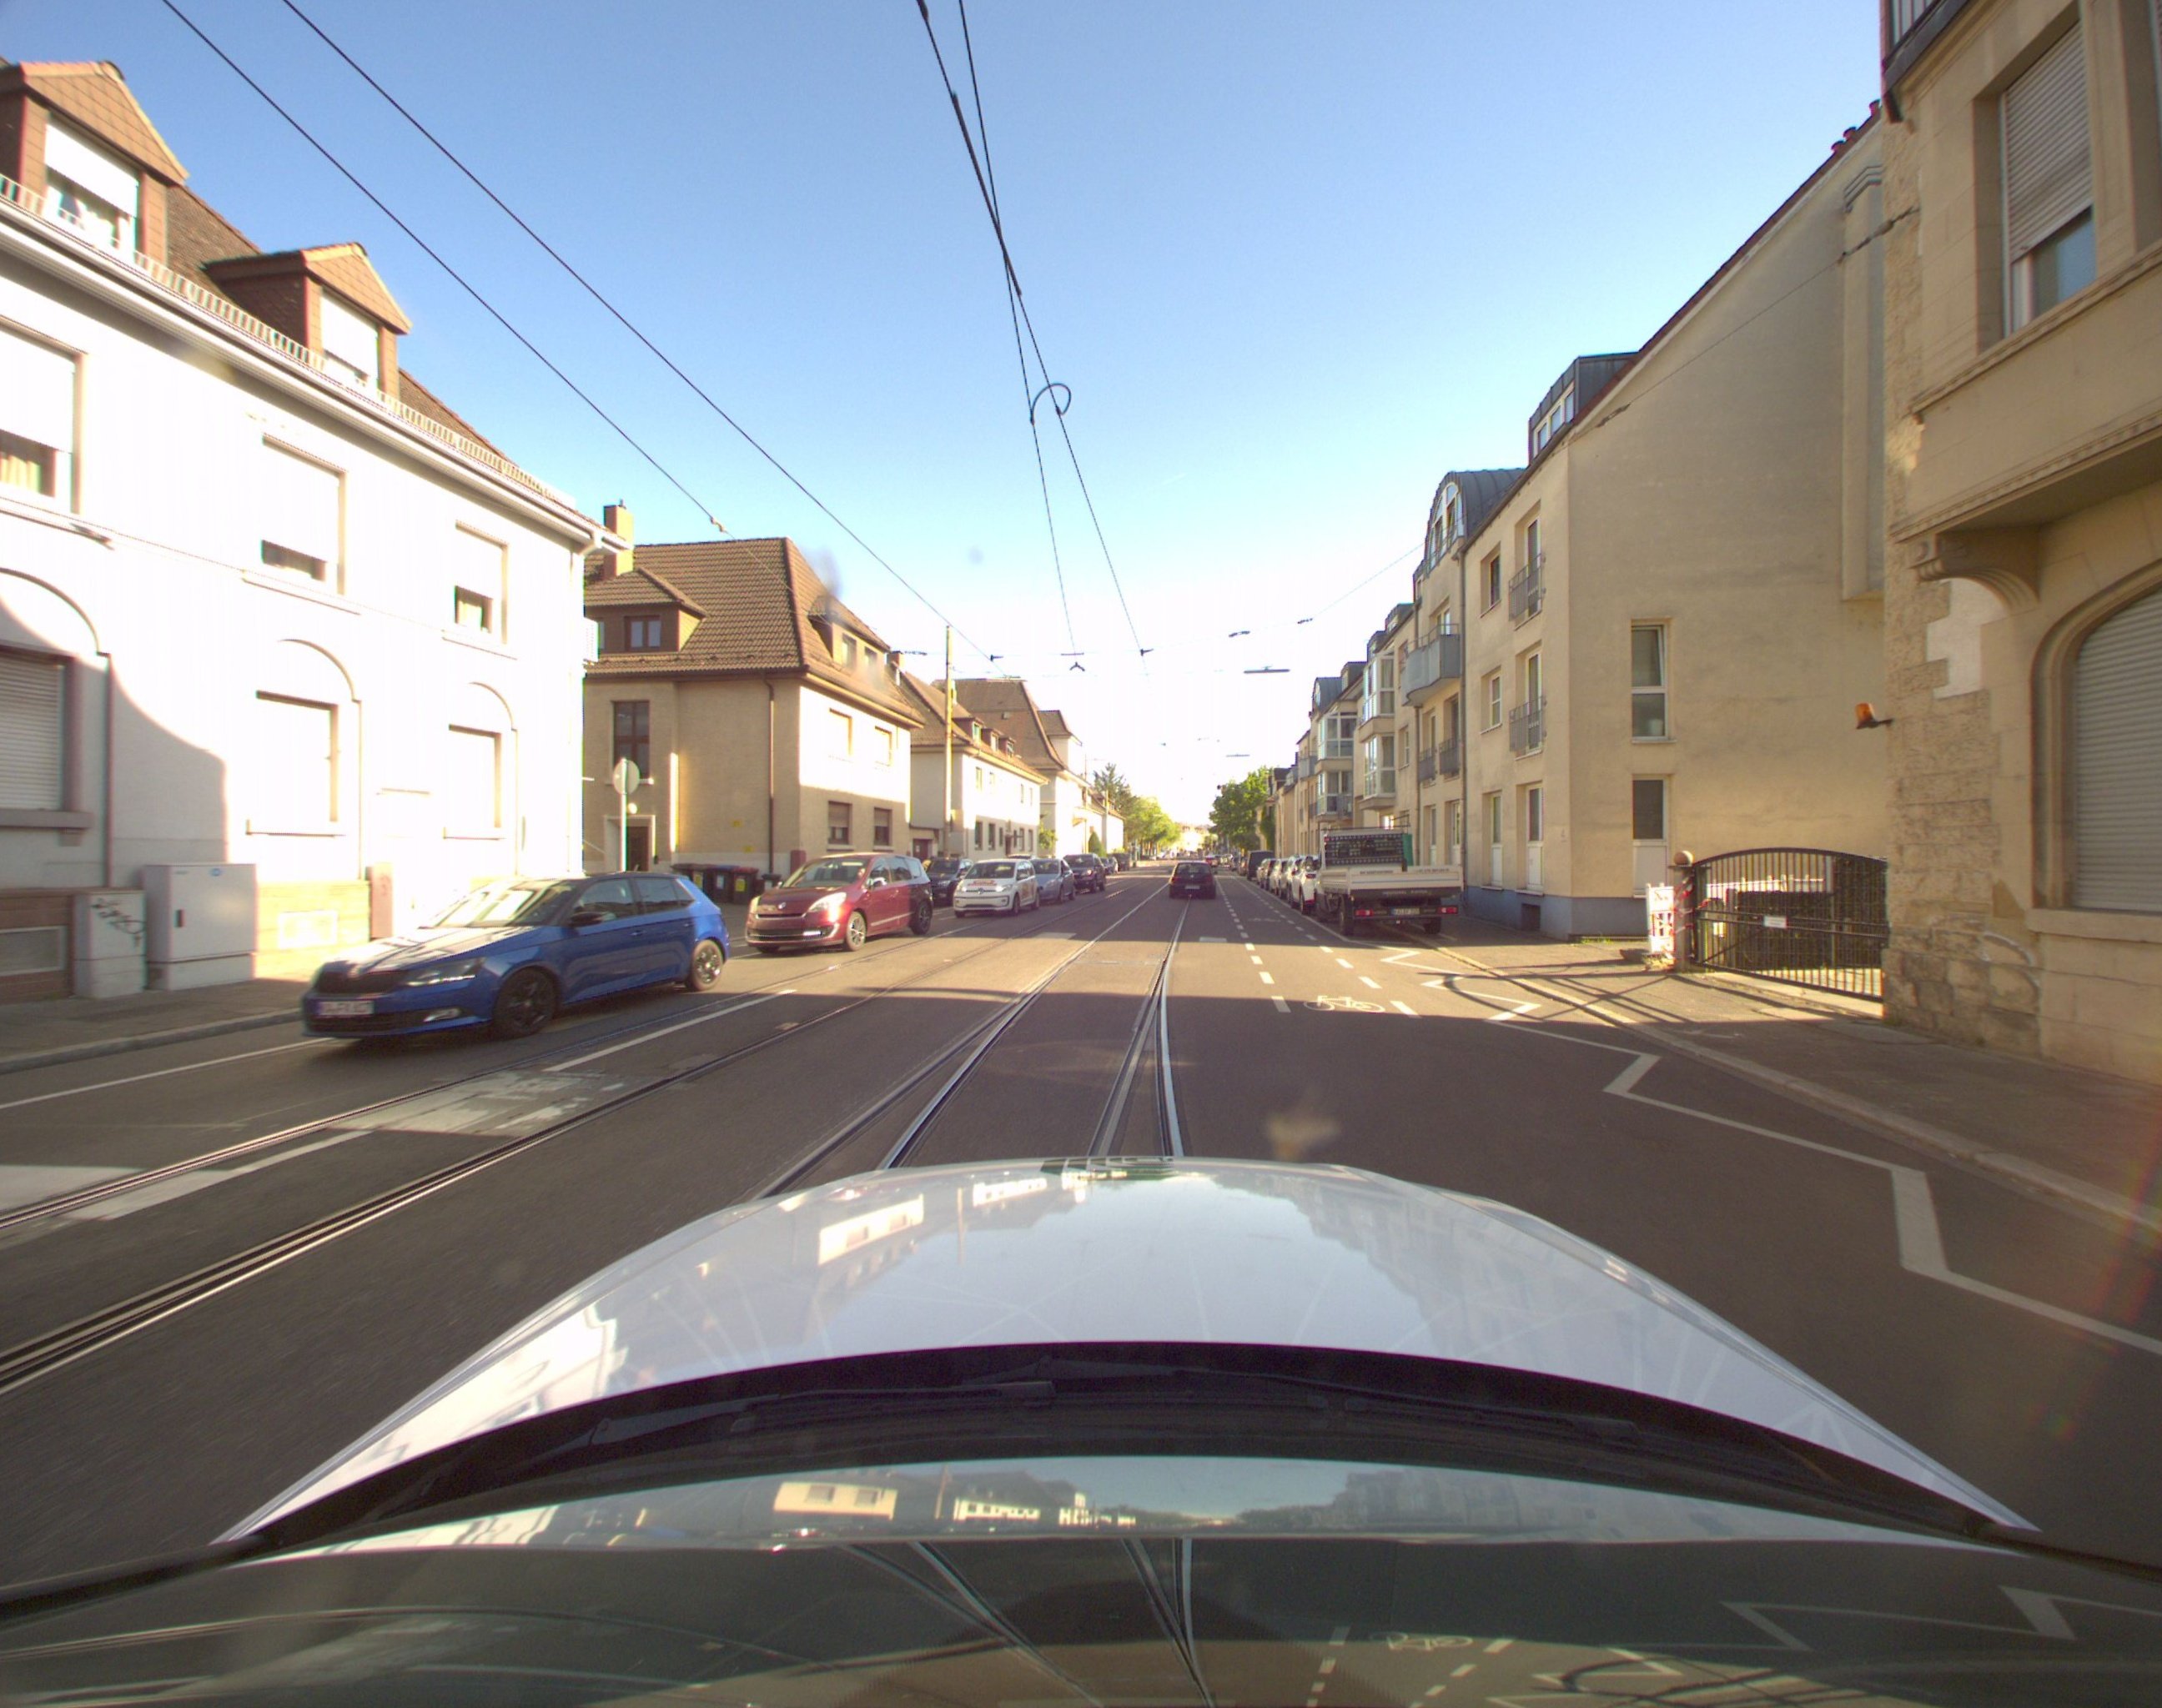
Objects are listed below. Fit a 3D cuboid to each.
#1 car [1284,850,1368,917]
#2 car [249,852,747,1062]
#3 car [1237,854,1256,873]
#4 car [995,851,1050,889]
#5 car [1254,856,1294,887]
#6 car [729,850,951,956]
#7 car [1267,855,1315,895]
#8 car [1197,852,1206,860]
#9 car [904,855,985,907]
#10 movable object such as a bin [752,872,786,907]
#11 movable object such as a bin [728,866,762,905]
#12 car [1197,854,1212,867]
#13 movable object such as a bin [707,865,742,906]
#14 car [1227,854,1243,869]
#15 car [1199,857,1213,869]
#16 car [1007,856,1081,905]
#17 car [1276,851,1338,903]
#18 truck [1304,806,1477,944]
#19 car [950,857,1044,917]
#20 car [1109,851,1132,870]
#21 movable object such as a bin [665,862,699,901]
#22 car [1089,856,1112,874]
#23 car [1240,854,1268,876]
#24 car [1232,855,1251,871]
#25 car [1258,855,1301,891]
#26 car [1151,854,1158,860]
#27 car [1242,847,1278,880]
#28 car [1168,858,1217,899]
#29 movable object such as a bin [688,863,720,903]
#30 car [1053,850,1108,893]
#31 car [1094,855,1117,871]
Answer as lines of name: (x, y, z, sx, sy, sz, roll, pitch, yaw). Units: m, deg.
car: (7.071, 0.788, 23.863, 1.729, 1.746, 4.266, 2, 0, 9)
car: (-5.308, 0.801, 8.172, 1.673, 1.567, 3.940, -2, 0, 11)
car: (15.053, 0.852, 74.213, 1.449, 1.599, 3.300, 1, 0, 7)
car: (-2.776, 0.762, 39.828, 1.752, 1.705, 4.565, -2, 0, 8)
car: (10.336, 0.912, 43.901, 1.668, 1.491, 4.182, 2, 0, 8)
car: (-4.082, 0.765, 14.782, 1.726, 1.611, 4.731, -2, 0, 13)
car: (8.715, 0.839, 33.993, 1.488, 1.557, 3.372, 1, 0, 8)
car: (29.030, 0.514, 196.267, 1.778, 1.859, 4.008, 2, 0, 7)
car: (-4.589, 0.864, 27.963, 1.606, 1.628, 3.930, -2, 0, 8)
movable object such as a bin: (-9.032, 1.025, 23.578, 0.654, 0.944, 0.583, 3, 0, 8)
movable object such as a bin: (-9.707, 0.903, 23.534, 0.612, 1.080, 0.674, 3, 0, 8)
car: (14.029, 0.737, 92.098, 1.625, 1.372, 3.767, 0, 0, 9)
movable object such as a bin: (-10.365, 0.910, 23.684, 0.638, 1.111, 0.674, 3, 0, 8)
car: (17.240, 0.863, 91.140, 1.656, 1.564, 3.780, 1, 0, 9)
car: (15.648, 1.052, 101.740, 1.730, 1.441, 3.819, 0, 0, 9)
car: (-1.141, 0.826, 26.904, 1.608, 1.461, 4.085, -2, 0, 9)
car: (8.050, 0.768, 29.353, 1.593, 1.700, 3.998, 1, 0, 8)
truck: (6.414, 0.374, 17.761, 2.282, 2.477, 6.161, 0, 0, 9)
car: (-2.177, 0.837, 22.001, 1.573, 1.461, 3.623, -2, 0, 10)
car: (4.337, 0.660, 89.690, 1.894, 2.014, 4.962, 2, 0, 10)
movable object such as a bin: (-11.676, 0.797, 23.834, 0.611, 1.111, 0.591, 3, 0, 8)
car: (1.669, 0.910, 69.289, 1.655, 1.477, 4.256, 0, 0, 5)
car: (13.614, 0.826, 64.447, 1.735, 1.599, 4.442, 2, 0, 7)
car: (16.296, 0.902, 82.921, 1.593, 1.525, 3.556, 2, 0, 7)
car: (9.268, 0.844, 38.285, 1.545, 1.557, 3.660, 2, 0, 8)
car: (17.592, 0.692, 195.766, 1.569, 1.477, 3.443, -1, 0, 3)
car: (11.543, 0.610, 52.792, 1.895, 1.987, 4.573, 1, 0, 8)
car: (4.273, 0.877, 30.993, 1.706, 1.402, 4.016, 1, 0, 9)
movable object such as a bin: (-11.004, 0.832, 23.762, 0.566, 1.111, 0.591, 3, 0, 8)
car: (0.047, 0.714, 34.741, 1.694, 1.705, 4.374, -1, 0, 9)
car: (2.350, 0.813, 75.986, 1.667, 1.477, 3.844, 2, 0, 9)
